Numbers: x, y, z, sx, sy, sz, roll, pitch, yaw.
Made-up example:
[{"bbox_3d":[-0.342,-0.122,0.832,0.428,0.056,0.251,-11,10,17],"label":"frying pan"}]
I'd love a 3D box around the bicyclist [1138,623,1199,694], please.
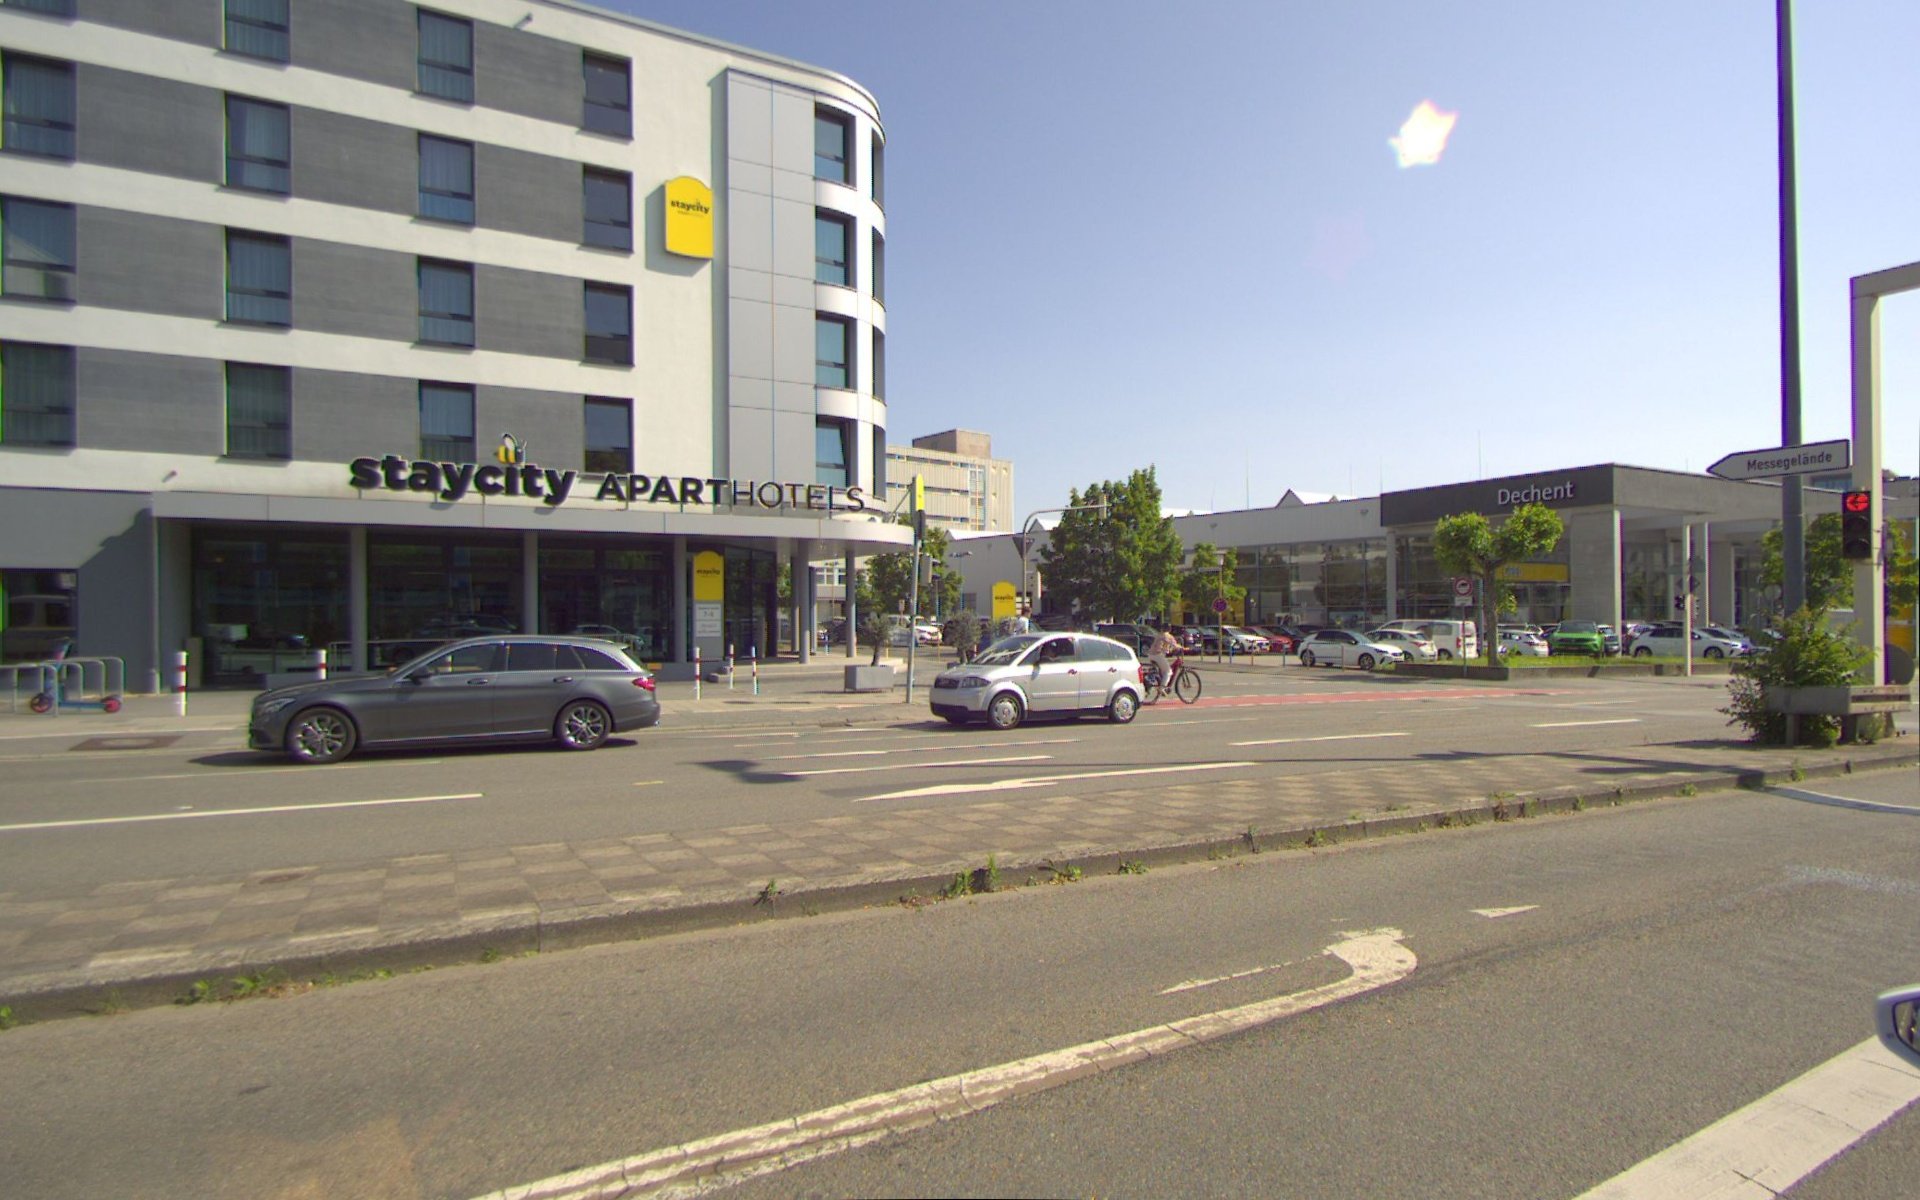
[{"bbox_3d":[4.439,1.229,21.390,1.012,1.479,0.766,1,-1,-22],"label":"bicyclist"}]

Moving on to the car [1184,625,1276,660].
[{"bbox_3d":[13.768,2.142,51.402,1.980,1.719,4.328,1,-2,-35],"label":"car"}]

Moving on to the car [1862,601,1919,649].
[{"bbox_3d":[53.211,1.399,55.698,1.973,2.635,4.345,1,-1,-24],"label":"car"}]

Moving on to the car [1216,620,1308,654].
[{"bbox_3d":[15.784,1.905,52.656,1.982,1.719,4.324,1,-2,-37],"label":"car"}]

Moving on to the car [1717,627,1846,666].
[{"bbox_3d":[38.817,2.167,47.549,1.978,1.719,4.333,1,-2,-32],"label":"car"}]

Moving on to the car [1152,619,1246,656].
[{"bbox_3d":[11.738,1.831,49.487,1.980,1.719,4.328,1,-2,-35],"label":"car"}]

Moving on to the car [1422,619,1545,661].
[{"bbox_3d":[22.624,1.690,43.519,1.982,1.719,4.323,1,-2,-38],"label":"car"}]

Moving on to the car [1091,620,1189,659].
[{"bbox_3d":[8.225,1.772,46.116,1.980,1.719,4.328,1,-2,-35],"label":"car"}]

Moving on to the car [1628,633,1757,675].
[{"bbox_3d":[30.608,2.234,42.061,1.981,1.620,3.959,1,-2,-36],"label":"car"}]

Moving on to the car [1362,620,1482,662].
[{"bbox_3d":[19.818,1.725,43.251,1.982,1.719,4.323,1,-2,-38],"label":"car"}]

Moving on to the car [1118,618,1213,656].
[{"bbox_3d":[9.844,1.752,48.298,1.980,1.719,4.328,1,-2,-35],"label":"car"}]

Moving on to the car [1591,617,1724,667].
[{"bbox_3d":[27.317,1.601,39.450,1.978,1.862,3.849,1,-2,-32],"label":"car"}]

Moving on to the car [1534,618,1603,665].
[{"bbox_3d":[23.959,1.633,39.676,1.870,1.756,3.293,0,-3,23],"label":"car"}]

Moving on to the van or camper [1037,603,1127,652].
[{"bbox_3d":[6.376,1.436,52.967,1.983,2.432,4.678,1,-2,-38],"label":"van or camper"}]

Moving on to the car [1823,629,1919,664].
[{"bbox_3d":[46.988,2.334,51.072,1.976,1.719,4.338,1,-2,-29],"label":"car"}]

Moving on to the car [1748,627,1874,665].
[{"bbox_3d":[41.572,2.224,49.145,1.978,1.719,4.333,1,-2,-32],"label":"car"}]

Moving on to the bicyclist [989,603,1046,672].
[{"bbox_3d":[1.272,0.824,22.188,1.014,1.479,0.765,1,-1,-27],"label":"bicyclist"}]

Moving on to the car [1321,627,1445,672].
[{"bbox_3d":[17.336,2.008,41.339,1.980,1.719,4.328,1,-2,-35],"label":"car"}]

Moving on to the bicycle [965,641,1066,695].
[{"bbox_3d":[1.224,1.487,22.148,2.134,1.131,0.765,1,-1,-27],"label":"bicycle"}]

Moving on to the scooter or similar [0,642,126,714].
[{"bbox_3d":[-14.740,1.277,16.520,1.499,1.127,0.349,2,-1,-28],"label":"scooter or similar"}]

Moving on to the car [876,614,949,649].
[{"bbox_3d":[-2.829,1.843,59.196,1.971,1.815,4.376,2,0,-42],"label":"car"}]

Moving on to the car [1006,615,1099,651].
[{"bbox_3d":[4.591,1.617,50.168,4.304,1.719,1.991,-1,-2,40],"label":"car"}]

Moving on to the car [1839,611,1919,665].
[{"bbox_3d":[49.059,1.980,52.337,2.096,2.720,4.490,1,-1,-21],"label":"car"}]

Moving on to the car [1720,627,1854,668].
[{"bbox_3d":[37.407,2.113,45.545,1.978,1.719,4.333,2,-1,-32],"label":"car"}]

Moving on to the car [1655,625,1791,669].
[{"bbox_3d":[32.867,1.977,43.392,1.978,1.789,4.274,1,-2,-32],"label":"car"}]

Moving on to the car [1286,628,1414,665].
[{"bbox_3d":[15.081,1.764,39.031,1.980,1.317,4.328,1,-2,-35],"label":"car"}]

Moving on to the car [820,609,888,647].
[{"bbox_3d":[-6.736,1.749,63.483,1.985,2.158,4.565,2,0,-42],"label":"car"}]

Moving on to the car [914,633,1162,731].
[{"bbox_3d":[1.336,1.290,16.811,3.871,1.457,1.763,1,-2,-31],"label":"car"}]

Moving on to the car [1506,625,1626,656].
[{"bbox_3d":[27.835,1.865,46.222,1.982,1.284,4.325,4,-4,-37],"label":"car"}]

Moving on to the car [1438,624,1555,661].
[{"bbox_3d":[24.466,1.900,45.909,1.982,1.612,4.325,1,-2,-37],"label":"car"}]

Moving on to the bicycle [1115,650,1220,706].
[{"bbox_3d":[4.416,1.645,21.374,2.130,1.131,0.766,1,-2,-22],"label":"bicycle"}]

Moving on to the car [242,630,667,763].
[{"bbox_3d":[-6.266,1.143,12.863,4.531,1.446,1.947,1,-4,-30],"label":"car"}]

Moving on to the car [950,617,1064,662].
[{"bbox_3d":[1.871,1.602,41.392,1.984,1.737,4.773,2,-2,-40],"label":"car"}]
